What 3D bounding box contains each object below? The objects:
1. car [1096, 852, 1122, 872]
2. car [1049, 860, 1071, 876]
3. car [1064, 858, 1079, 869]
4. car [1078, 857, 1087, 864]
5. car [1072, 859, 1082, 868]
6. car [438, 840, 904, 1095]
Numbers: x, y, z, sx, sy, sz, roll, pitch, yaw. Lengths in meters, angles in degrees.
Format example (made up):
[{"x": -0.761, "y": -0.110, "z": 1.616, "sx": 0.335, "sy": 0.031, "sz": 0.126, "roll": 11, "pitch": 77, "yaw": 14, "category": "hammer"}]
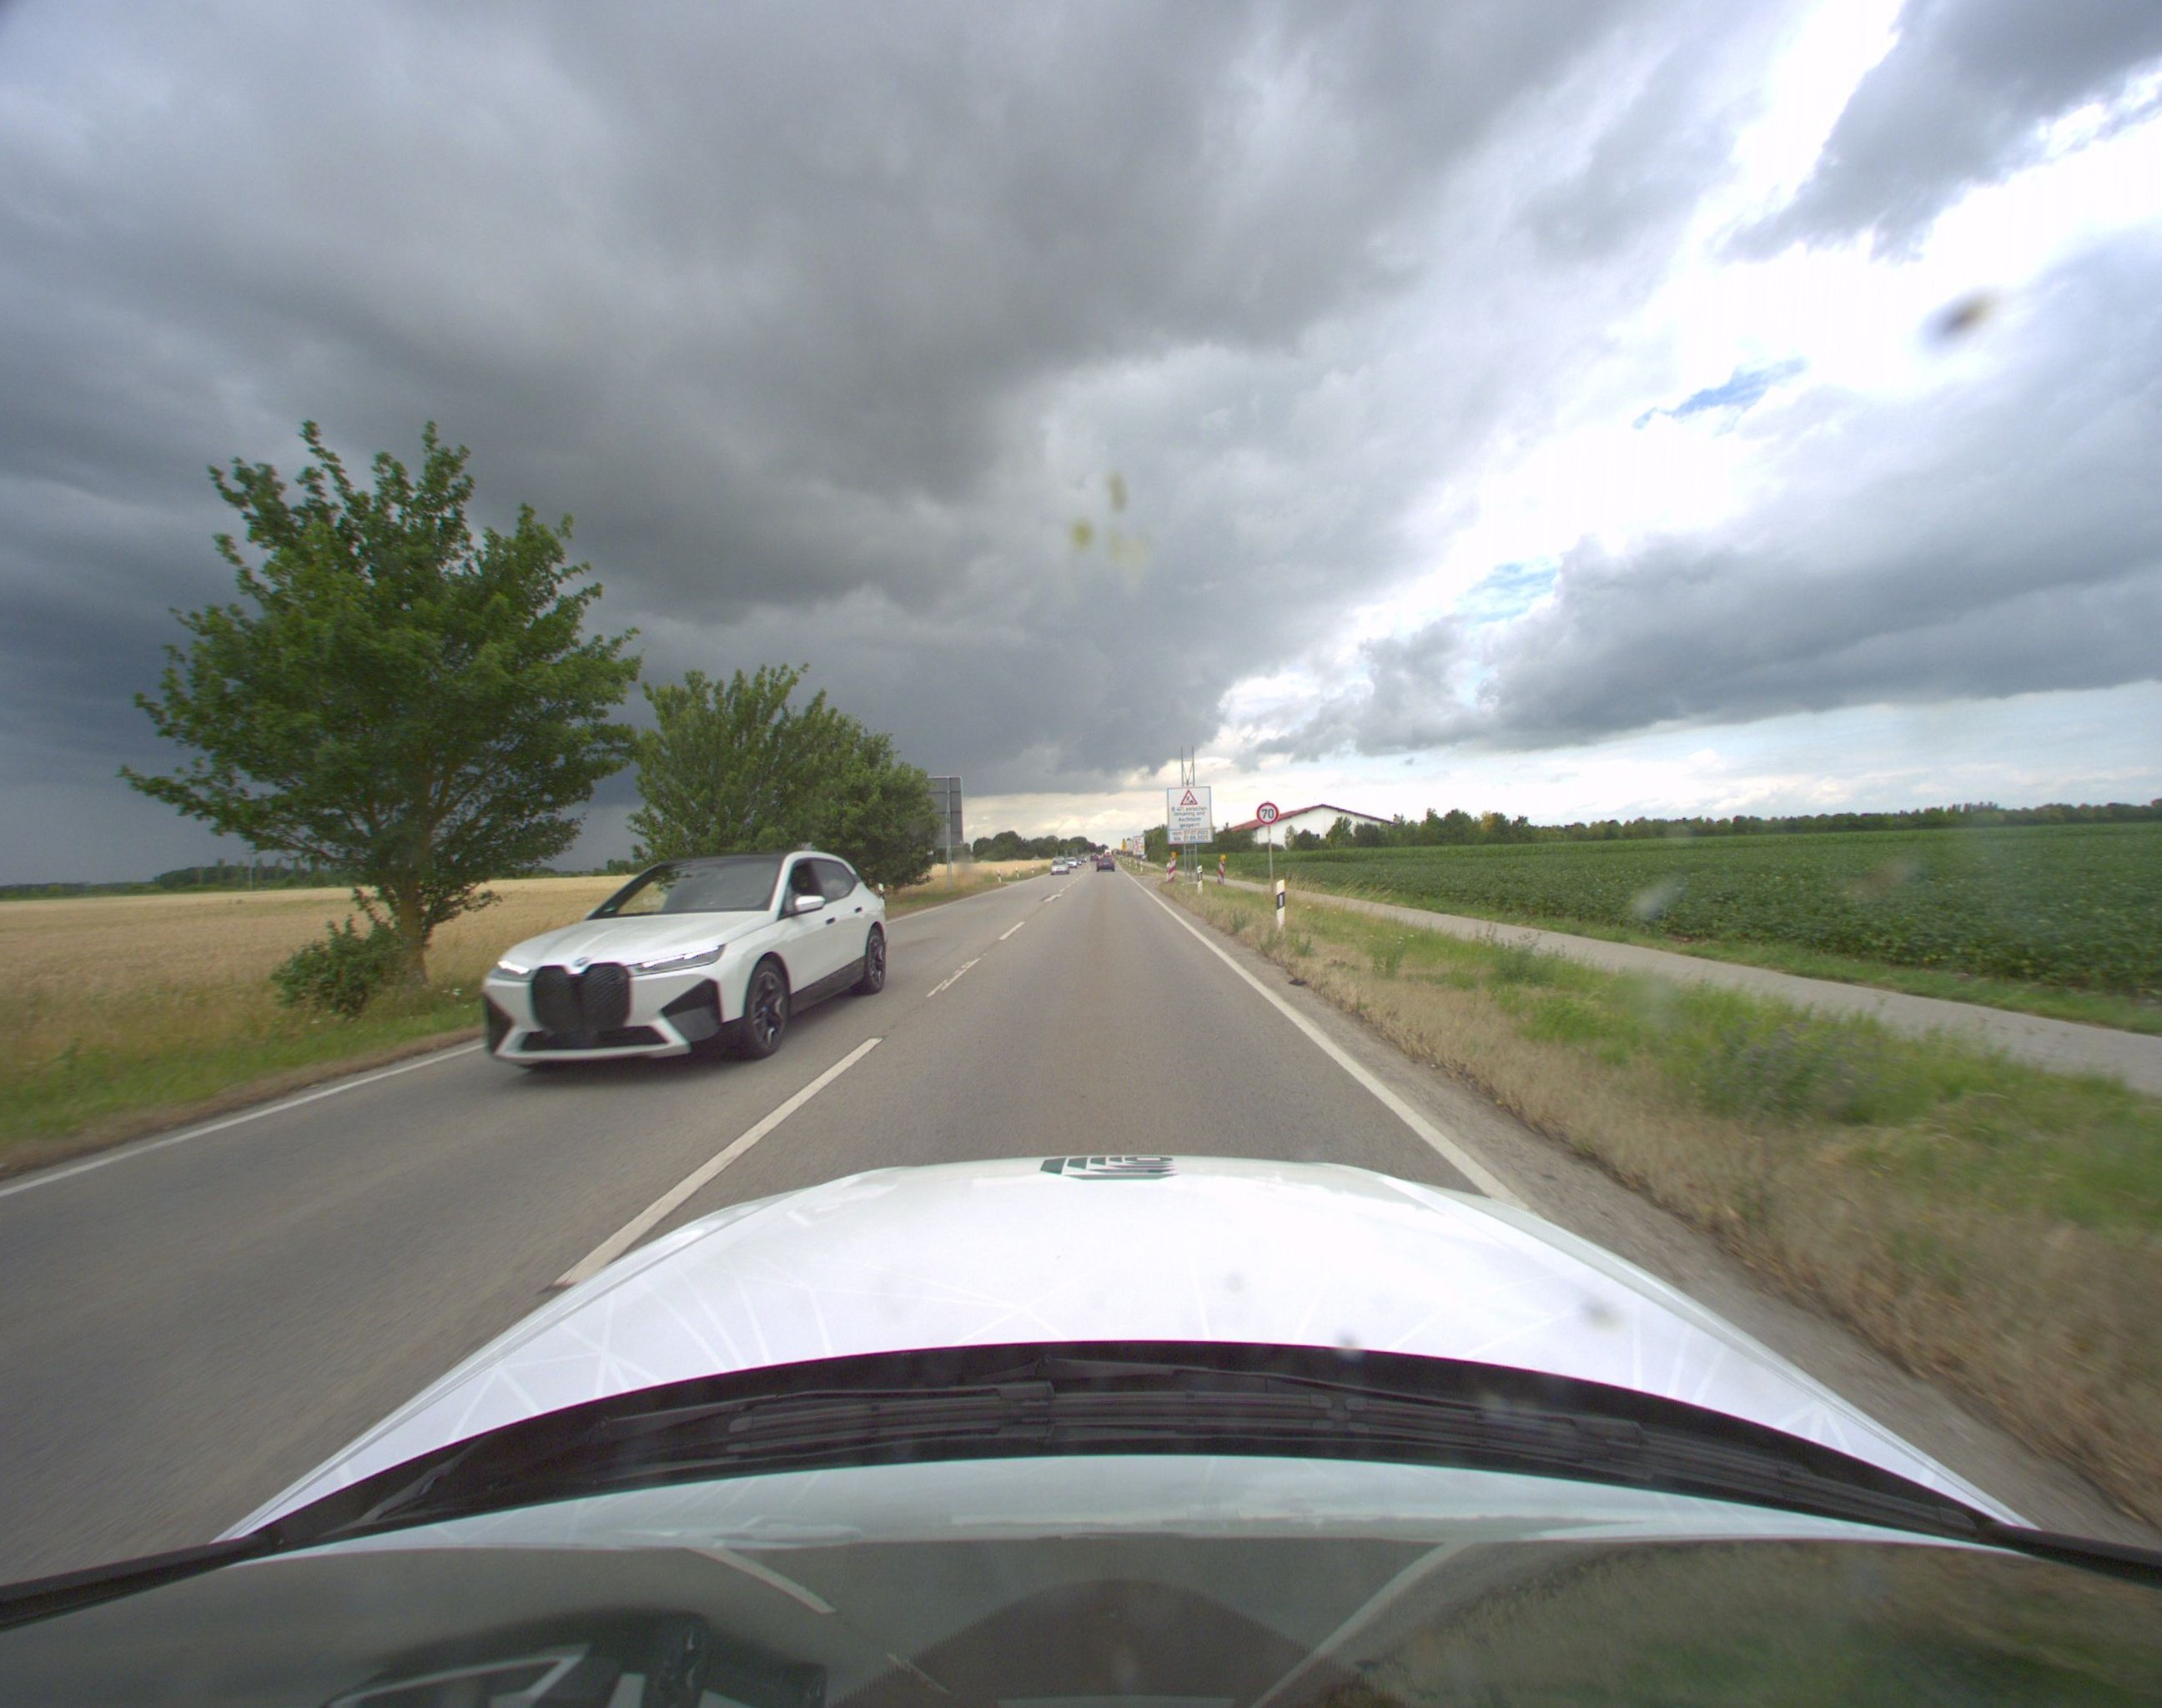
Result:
[{"x": 2.807, "y": 0.794, "z": 82.222, "sx": 2.365, "sy": 1.880, "sz": 4.476, "roll": -4, "pitch": -1, "yaw": -1, "category": "car"}, {"x": -1.916, "y": 1.244, "z": 75.188, "sx": 1.722, "sy": 1.363, "sz": 3.951, "roll": -2, "pitch": 0, "yaw": 2, "category": "car"}, {"x": -1.328, "y": 1.279, "z": 112.305, "sx": 1.799, "sy": 1.456, "sz": 4.115, "roll": -2, "pitch": 0, "yaw": 2, "category": "car"}, {"x": 0.363, "y": 1.526, "z": 198.777, "sx": 2.057, "sy": 1.580, "sz": 4.767, "roll": -4, "pitch": 0, "yaw": 2, "category": "car"}, {"x": -0.726, "y": 1.808, "z": 151.204, "sx": 1.706, "sy": 1.488, "sz": 4.610, "roll": -2, "pitch": 0, "yaw": 2, "category": "car"}, {"x": -3.380, "y": 0.789, "z": 8.067, "sx": 1.986, "sy": 1.684, "sz": 4.811, "roll": -3, "pitch": 0, "yaw": 2, "category": "car"}]
